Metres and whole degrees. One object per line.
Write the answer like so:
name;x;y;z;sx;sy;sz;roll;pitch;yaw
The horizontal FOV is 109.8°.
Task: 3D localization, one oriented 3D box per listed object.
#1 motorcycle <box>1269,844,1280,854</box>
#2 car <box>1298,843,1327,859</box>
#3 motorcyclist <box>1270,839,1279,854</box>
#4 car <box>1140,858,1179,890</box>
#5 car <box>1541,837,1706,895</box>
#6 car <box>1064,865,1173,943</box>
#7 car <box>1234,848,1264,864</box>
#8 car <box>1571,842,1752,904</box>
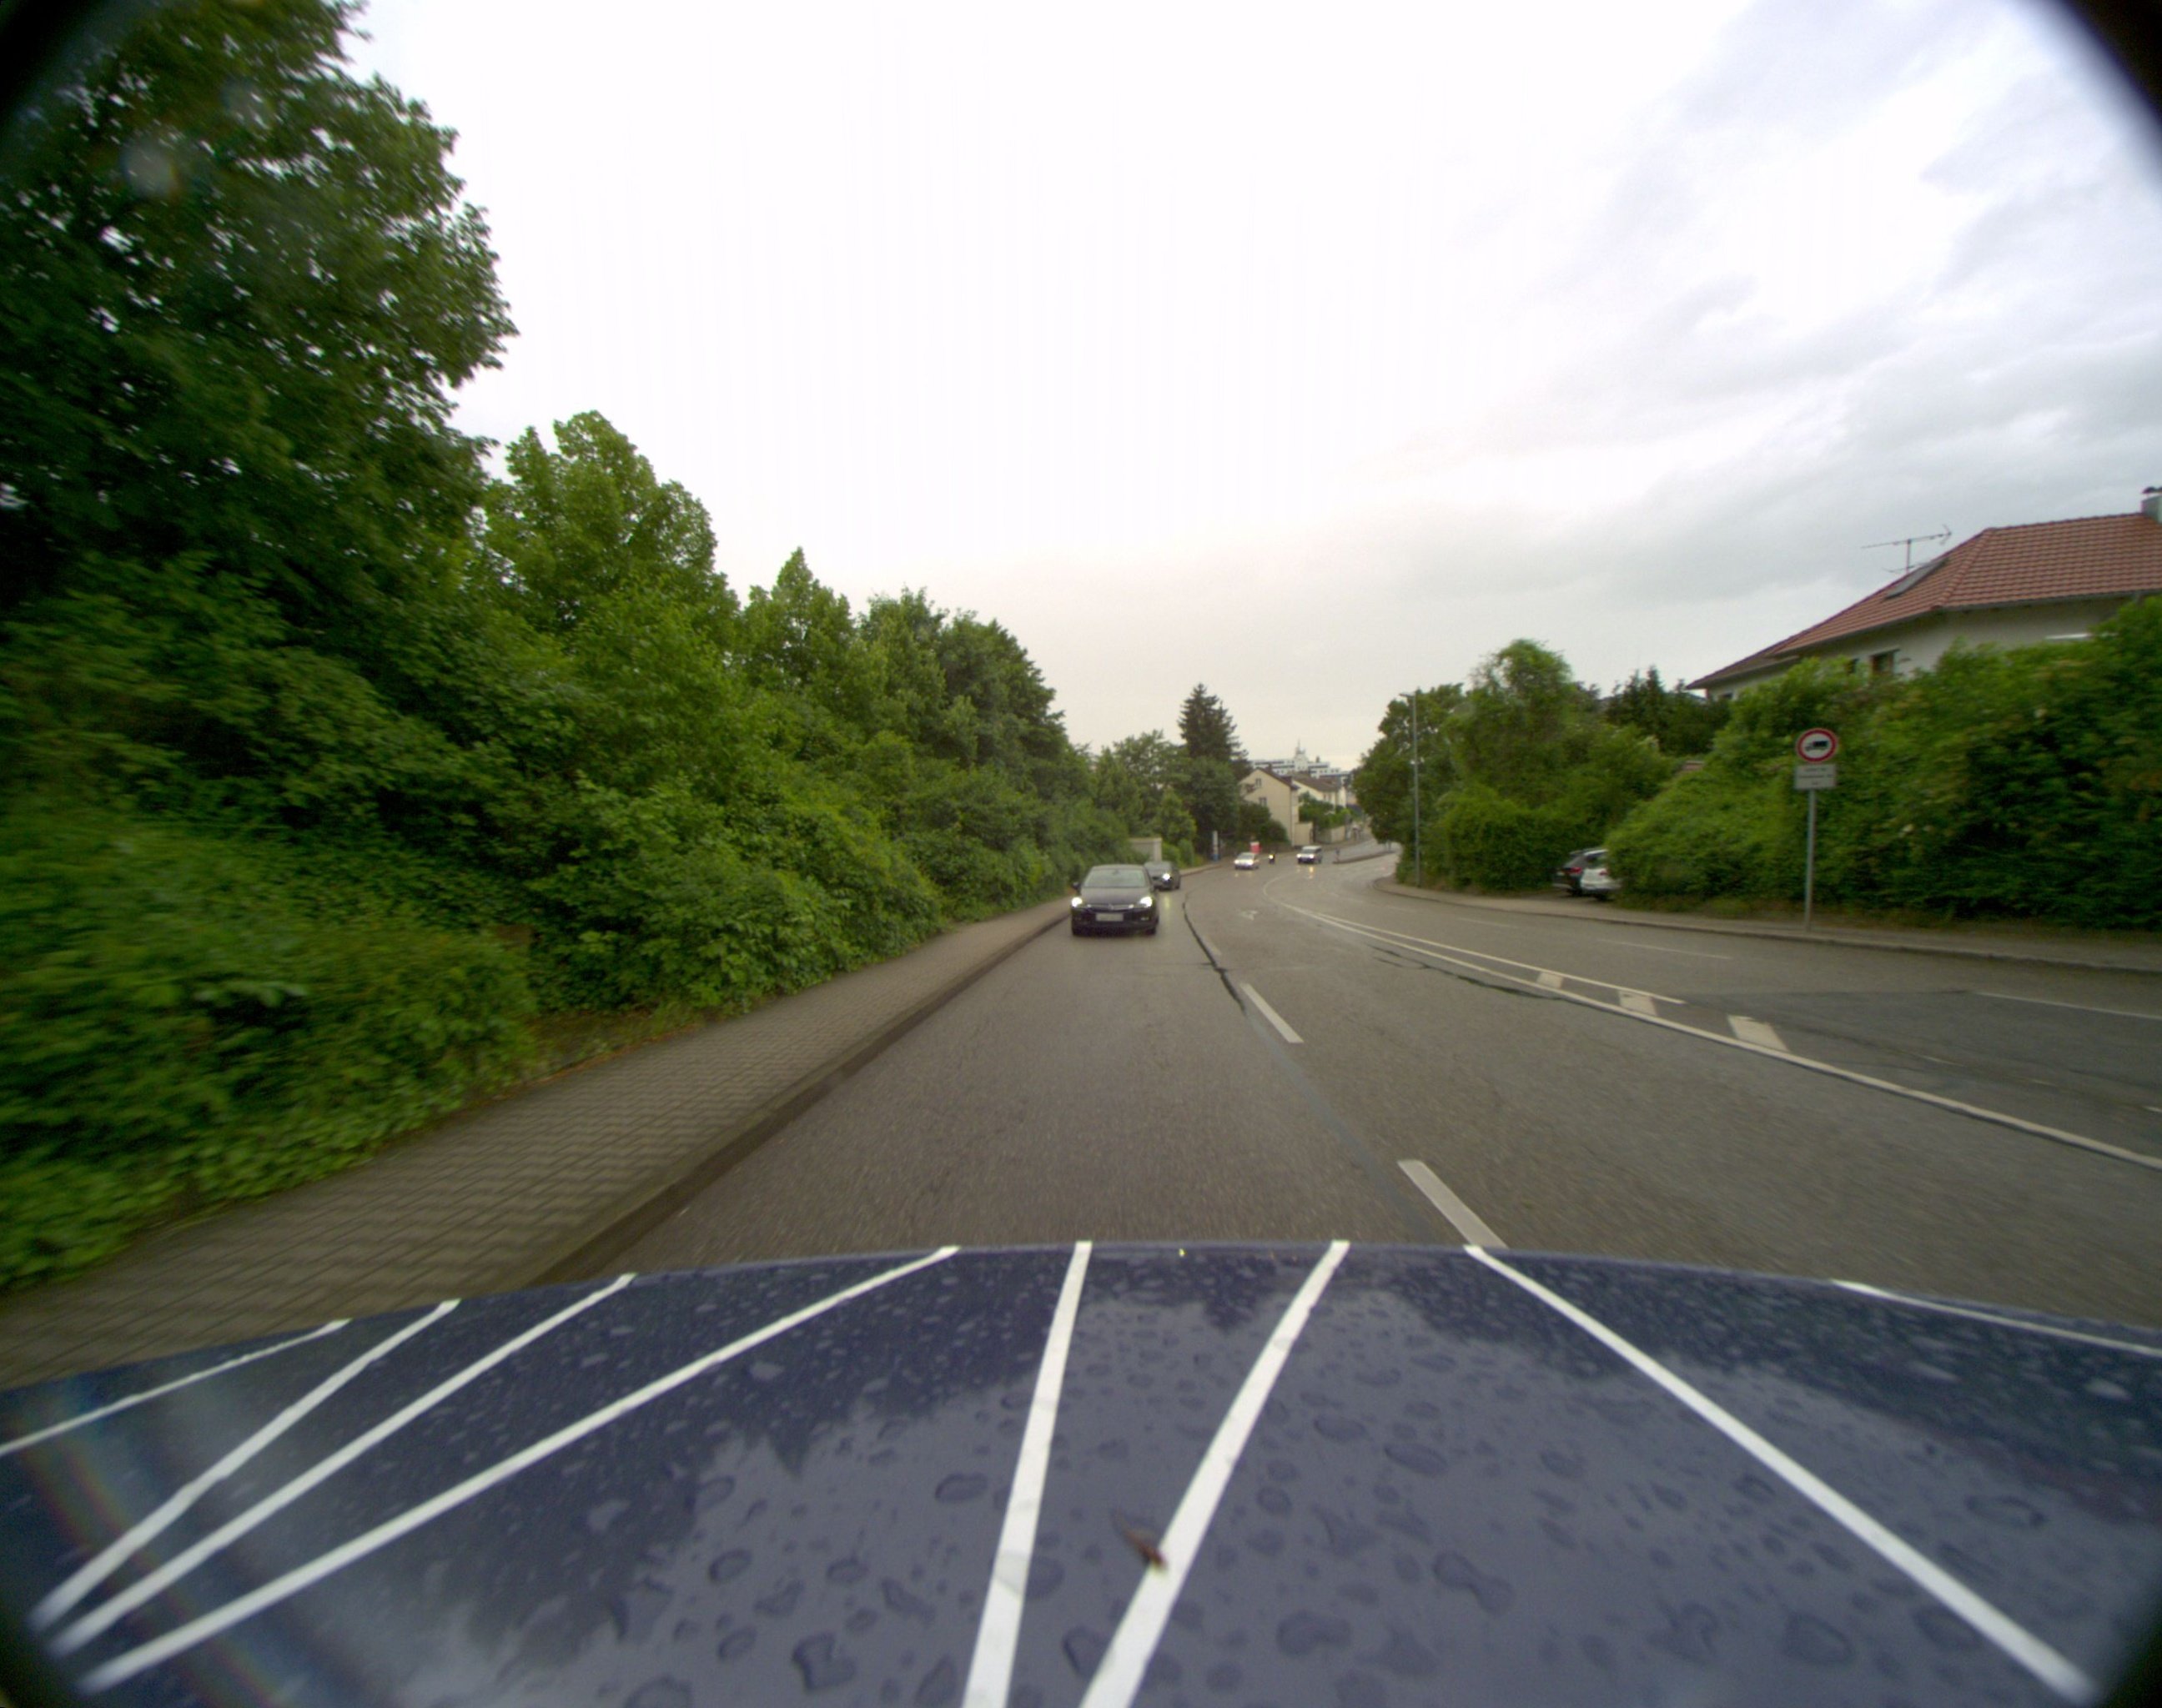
motorcycle;21.245;-0.532;83.445;0.691;1.047;1.750;1;2;30
car;25.420;-0.326;83.441;1.773;1.765;4.009;2;1;37
motorcyclist;21.237;-0.802;83.420;0.765;1.633;0.675;1;1;30
car;4.020;0.981;39.063;1.871;1.497;4.199;-1;0;6
car;18.333;0.413;25.871;3.995;1.527;2.001;-6;-1;6
car;0.970;1.009;16.998;1.815;1.434;4.166;0;0;11
car;16.074;0.208;72.538;1.814;1.430;4.007;1;1;26
car;17.530;0.559;23.135;3.909;1.432;1.812;-6;-1;7
